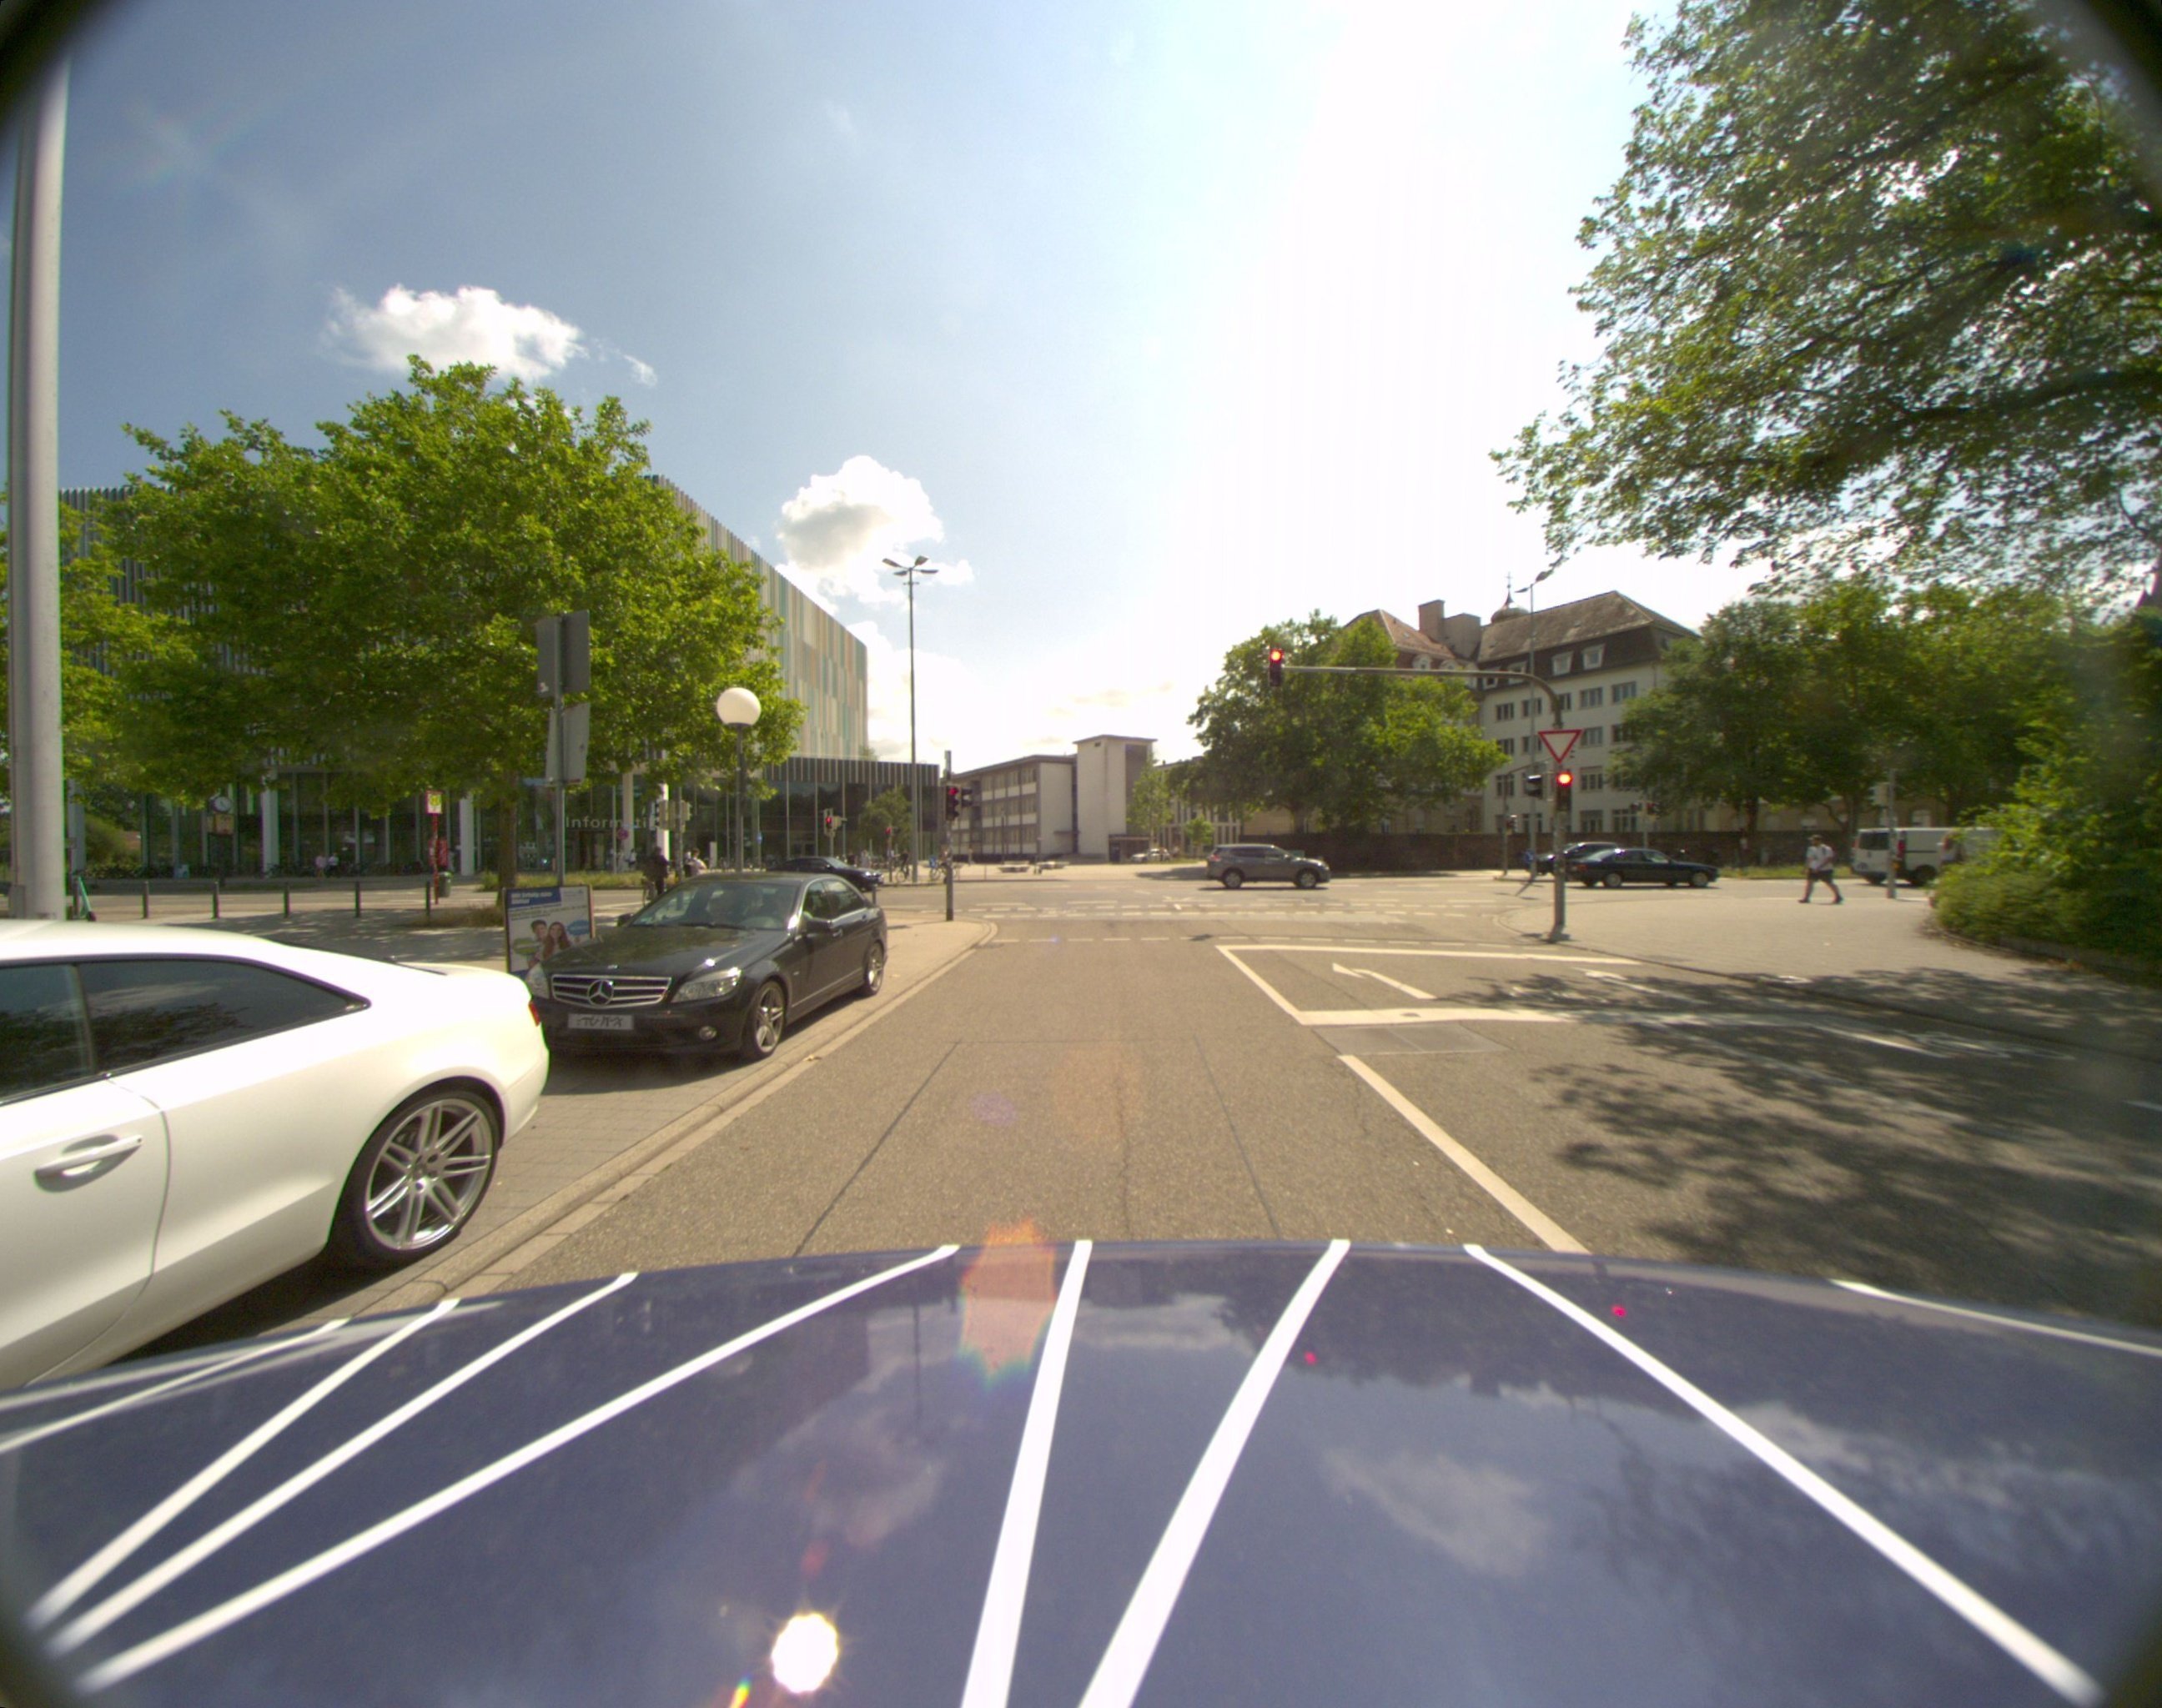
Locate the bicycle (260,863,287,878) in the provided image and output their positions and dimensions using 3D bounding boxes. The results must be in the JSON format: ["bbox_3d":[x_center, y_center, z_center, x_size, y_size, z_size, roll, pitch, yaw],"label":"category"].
[{"bbox_3d":[-57.603,1.158,54.206,0.373,0.950,1.544,-1,2,-8],"label":"bicycle"}]

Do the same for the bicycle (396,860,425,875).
[{"bbox_3d":[-48.299,0.960,54.752,0.373,0.950,1.548,0,3,17],"label":"bicycle"}]

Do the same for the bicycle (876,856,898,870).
[{"bbox_3d":[-13.772,0.630,53.869,1.768,0.950,0.530,1,2,40],"label":"bicycle"}]

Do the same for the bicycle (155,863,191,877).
[{"bbox_3d":[-66.299,1.163,55.502,0.433,0.950,1.785,-1,2,2],"label":"bicycle"}]

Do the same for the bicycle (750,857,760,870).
[{"bbox_3d":[-24.469,0.717,57.072,0.529,0.950,1.770,-1,2,-17],"label":"bicycle"}]

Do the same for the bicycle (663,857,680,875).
[{"bbox_3d":[-28.986,0.843,53.783,0.373,1.181,1.546,0,3,1],"label":"bicycle"}]

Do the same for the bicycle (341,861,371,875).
[{"bbox_3d":[-52.015,0.991,54.516,0.373,0.950,1.548,0,3,17],"label":"bicycle"}]

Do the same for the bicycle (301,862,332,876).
[{"bbox_3d":[-55.496,1.059,55.190,0.373,0.950,1.548,0,3,17],"label":"bicycle"}]

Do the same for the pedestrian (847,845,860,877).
[{"bbox_3d":[-12.924,0.384,43.234,0.633,1.832,0.479,-1,2,-12],"label":"pedestrian"}]

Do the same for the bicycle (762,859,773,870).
[{"bbox_3d":[-23.719,0.801,57.402,0.530,0.760,1.769,-1,2,-30],"label":"bicycle"}]

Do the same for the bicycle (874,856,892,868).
[{"bbox_3d":[-16.276,0.618,62.425,1.768,0.950,0.530,1,2,40],"label":"bicycle"}]

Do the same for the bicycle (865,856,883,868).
[{"bbox_3d":[-16.974,0.632,62.208,1.768,0.950,0.530,1,2,40],"label":"bicycle"}]

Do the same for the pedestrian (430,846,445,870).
[{"bbox_3d":[-48.257,0.296,57.008,0.554,1.832,0.561,-1,2,-5],"label":"pedestrian"}]

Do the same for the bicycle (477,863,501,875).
[{"bbox_3d":[-43.008,1.075,55.198,0.373,0.771,1.546,0,2,6],"label":"bicycle"}]

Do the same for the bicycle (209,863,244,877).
[{"bbox_3d":[-62.544,1.157,55.619,0.433,0.950,1.785,-1,2,2],"label":"bicycle"}]

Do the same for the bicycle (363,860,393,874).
[{"bbox_3d":[-50.736,0.929,54.869,0.373,0.950,1.548,0,3,17],"label":"bicycle"}]

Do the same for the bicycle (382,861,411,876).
[{"bbox_3d":[-49.540,1.033,55.006,0.373,0.950,1.548,0,3,17],"label":"bicycle"}]

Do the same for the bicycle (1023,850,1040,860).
[{"bbox_3d":[-5.197,0.119,79.835,1.775,0.950,0.528,-1,3,-23],"label":"bicycle"}]

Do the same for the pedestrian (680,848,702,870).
[{"bbox_3d":[-30.298,0.376,59.007,1.014,1.641,1.183,-1,1,3],"label":"pedestrian"}]

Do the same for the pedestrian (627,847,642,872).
[{"bbox_3d":[-33.603,0.416,57.190,0.677,1.832,0.691,0,2,10],"label":"pedestrian"}]

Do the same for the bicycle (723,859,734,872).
[{"bbox_3d":[-26.073,0.845,56.241,0.374,0.950,1.768,-2,2,-36],"label":"bicycle"}]

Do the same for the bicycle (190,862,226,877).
[{"bbox_3d":[-63.821,1.129,55.572,0.433,0.950,1.785,-1,2,2],"label":"bicycle"}]

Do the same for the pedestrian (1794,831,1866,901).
[{"bbox_3d":[18.476,0.287,18.771,0.930,1.690,0.854,0,0,5],"label":"pedestrian"}]

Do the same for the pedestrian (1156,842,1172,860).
[{"bbox_3d":[7.813,-0.261,71.413,1.297,1.641,1.327,-1,1,15],"label":"pedestrian"}]

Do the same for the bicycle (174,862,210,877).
[{"bbox_3d":[-64.909,1.138,55.469,0.433,0.950,1.785,-1,2,2],"label":"bicycle"}]

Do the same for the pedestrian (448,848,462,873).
[{"bbox_3d":[-46.660,0.462,56.635,0.554,1.832,0.561,-1,2,-5],"label":"pedestrian"}]

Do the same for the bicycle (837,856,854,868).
[{"bbox_3d":[-18.833,0.641,60.824,0.530,0.950,1.768,-2,2,-44],"label":"bicycle"}]

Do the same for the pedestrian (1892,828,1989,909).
[{"bbox_3d":[17.933,0.294,15.873,1.019,1.617,0.857,-2,0,-1],"label":"pedestrian"}]

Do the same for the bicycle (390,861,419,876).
[{"bbox_3d":[-48.868,1.032,54.887,0.373,0.950,1.548,0,3,17],"label":"bicycle"}]

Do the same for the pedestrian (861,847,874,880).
[{"bbox_3d":[-12.160,0.548,43.259,0.575,1.832,0.415,-1,2,-3],"label":"pedestrian"}]

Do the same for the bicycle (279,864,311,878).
[{"bbox_3d":[-56.813,1.208,54.918,0.373,0.950,1.548,0,3,17],"label":"bicycle"}]

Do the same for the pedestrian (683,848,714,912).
[{"bbox_3d":[-11.034,0.744,21.914,0.594,1.790,0.612,-2,-1,40],"label":"pedestrian"}]

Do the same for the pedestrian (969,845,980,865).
[{"bbox_3d":[-9.812,0.109,70.078,0.845,1.780,0.676,-2,1,-27],"label":"pedestrian"}]

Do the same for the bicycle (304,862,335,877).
[{"bbox_3d":[-55.131,1.119,55.005,0.373,0.950,1.548,0,3,17],"label":"bicycle"}]

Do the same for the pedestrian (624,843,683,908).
[{"bbox_3d":[-12.315,0.632,21.920,0.855,1.808,1.177,2,-3,5],"label":"pedestrian"}]

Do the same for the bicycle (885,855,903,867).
[{"bbox_3d":[-15.478,0.590,62.874,1.768,0.950,0.530,1,2,40],"label":"bicycle"}]

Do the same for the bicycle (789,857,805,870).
[{"bbox_3d":[-21.954,0.730,58.727,0.530,0.950,1.768,-2,3,-41],"label":"bicycle"}]

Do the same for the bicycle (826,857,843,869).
[{"bbox_3d":[-19.538,0.695,60.261,0.530,0.950,1.768,-2,2,-44],"label":"bicycle"}]

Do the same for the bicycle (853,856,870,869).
[{"bbox_3d":[-17.874,0.677,61.816,0.530,0.950,1.768,-2,2,-44],"label":"bicycle"}]

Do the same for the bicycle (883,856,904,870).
[{"bbox_3d":[-13.422,0.635,54.274,1.768,0.950,0.530,1,2,40],"label":"bicycle"}]

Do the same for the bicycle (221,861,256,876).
[{"bbox_3d":[-61.422,1.064,55.393,0.433,0.950,1.785,-1,2,2],"label":"bicycle"}]

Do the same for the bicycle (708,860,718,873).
[{"bbox_3d":[-26.866,0.900,55.499,0.374,0.950,1.542,-2,2,-36],"label":"bicycle"}]
